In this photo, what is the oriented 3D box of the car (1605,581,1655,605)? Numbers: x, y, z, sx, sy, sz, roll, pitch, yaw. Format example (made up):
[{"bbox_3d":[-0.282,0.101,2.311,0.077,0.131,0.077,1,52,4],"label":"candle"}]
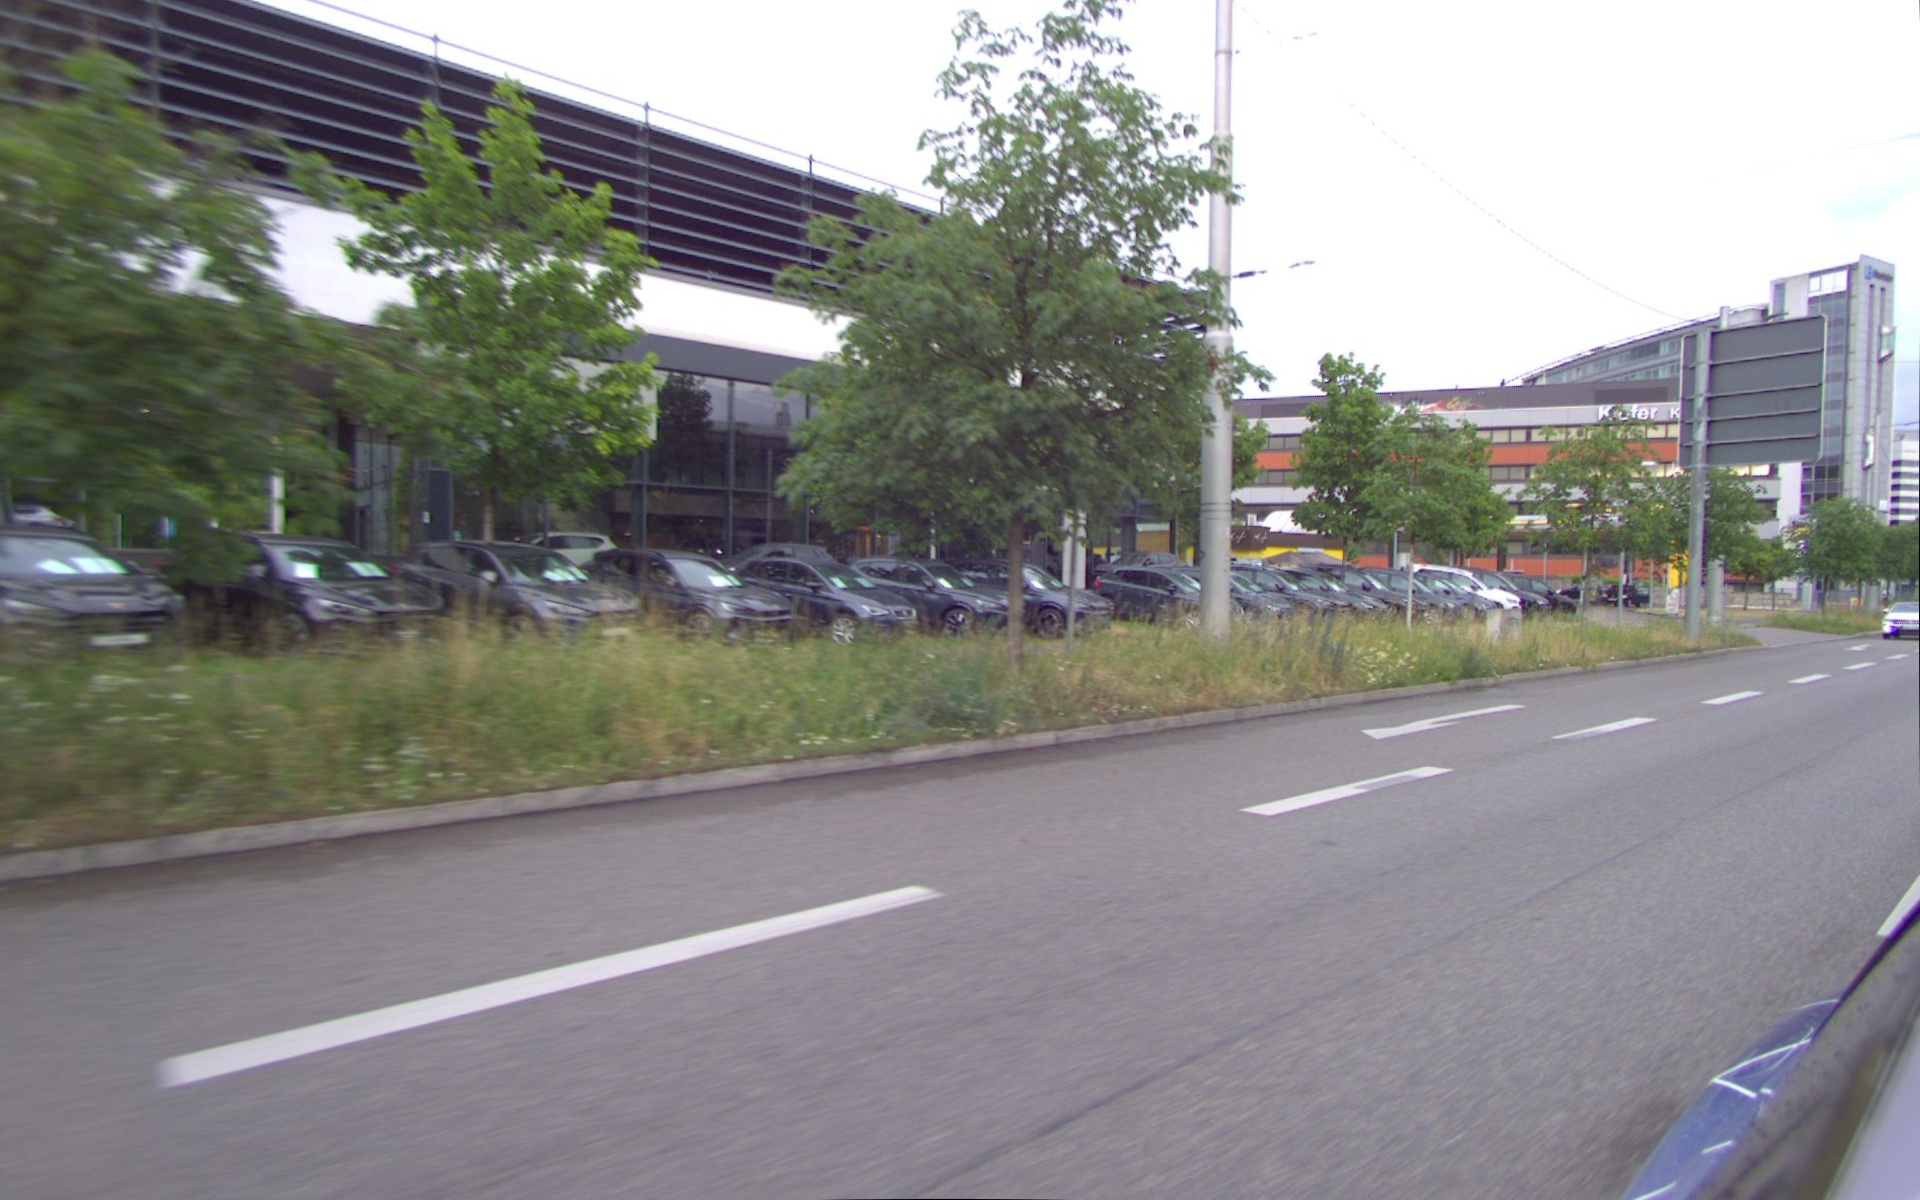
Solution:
[{"bbox_3d":[44.413,-0.464,67.091,3.715,1.436,1.783,0,3,-41],"label":"car"}]

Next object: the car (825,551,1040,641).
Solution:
[{"bbox_3d":[-0.601,-0.151,20.863,4.120,1.552,1.775,4,3,31],"label":"car"}]

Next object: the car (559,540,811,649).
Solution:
[{"bbox_3d":[-4.736,-0.168,17.304,4.120,1.546,1.812,4,3,31],"label":"car"}]

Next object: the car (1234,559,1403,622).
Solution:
[{"bbox_3d":[10.894,-0.355,30.923,4.484,1.638,1.794,5,4,42],"label":"car"}]

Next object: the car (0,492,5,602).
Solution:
[{"bbox_3d":[-18.933,-0.952,16.822,4.352,1.962,1.890,0,2,-41],"label":"car"}]

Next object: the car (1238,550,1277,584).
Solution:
[{"bbox_3d":[15.707,-1.692,53.404,1.820,1.664,4.292,2,1,17],"label":"car"}]

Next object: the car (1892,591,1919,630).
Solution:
[{"bbox_3d":[38.688,0.420,40.213,3.767,1.513,1.878,0,1,-39],"label":"car"}]

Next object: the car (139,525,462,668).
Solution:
[{"bbox_3d":[-8.897,-0.134,13.618,4.111,1.588,1.811,4,3,26],"label":"car"}]

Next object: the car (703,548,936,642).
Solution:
[{"bbox_3d":[-2.680,-0.156,19.029,4.120,1.476,1.775,4,3,31],"label":"car"}]

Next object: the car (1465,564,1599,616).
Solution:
[{"bbox_3d":[23.593,-0.442,41.850,4.308,1.838,1.880,3,2,0],"label":"car"}]

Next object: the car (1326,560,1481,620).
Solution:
[{"bbox_3d":[15.049,-0.391,34.467,4.477,1.773,1.797,4,3,38],"label":"car"}]

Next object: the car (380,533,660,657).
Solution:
[{"bbox_3d":[-6.788,-0.158,15.536,4.119,1.588,1.889,4,3,31],"label":"car"}]

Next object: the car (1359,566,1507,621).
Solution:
[{"bbox_3d":[16.843,-0.282,36.106,4.475,1.657,1.798,4,3,36],"label":"car"}]

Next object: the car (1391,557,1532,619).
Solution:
[{"bbox_3d":[18.673,-0.497,37.750,4.468,2.015,1.800,4,3,33],"label":"car"}]

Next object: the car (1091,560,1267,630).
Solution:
[{"bbox_3d":[5.520,-0.184,25.749,4.039,1.520,1.663,4,3,39],"label":"car"}]

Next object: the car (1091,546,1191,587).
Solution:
[{"bbox_3d":[6.969,-1.267,38.785,3.831,1.491,1.783,0,2,-41],"label":"car"}]

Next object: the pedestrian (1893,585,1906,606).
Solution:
[{"bbox_3d":[87.095,-0.439,93.788,0.676,1.925,0.672,-1,-1,28],"label":"pedestrian"}]

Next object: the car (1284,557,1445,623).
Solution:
[{"bbox_3d":[13.030,-0.375,32.736,4.477,1.817,1.797,4,3,38],"label":"car"}]

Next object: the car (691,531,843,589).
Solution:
[{"bbox_3d":[-5.339,-1.077,28.227,3.831,1.491,1.668,0,2,-41],"label":"car"}]

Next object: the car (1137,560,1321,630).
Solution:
[{"bbox_3d":[7.239,-0.198,27.480,4.480,1.588,1.796,4,3,39],"label":"car"}]

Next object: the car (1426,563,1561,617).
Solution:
[{"bbox_3d":[20.652,-0.440,39.245,4.366,1.811,1.854,4,3,37],"label":"car"}]

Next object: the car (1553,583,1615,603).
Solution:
[{"bbox_3d":[52.362,-0.584,85.017,4.322,1.667,1.775,-1,0,30],"label":"car"}]

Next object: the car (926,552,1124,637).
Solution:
[{"bbox_3d":[1.402,-0.181,22.370,4.025,1.595,1.714,4,3,31],"label":"car"}]

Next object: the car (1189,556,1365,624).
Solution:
[{"bbox_3d":[9.124,-0.340,29.302,4.480,1.683,1.796,4,3,39],"label":"car"}]

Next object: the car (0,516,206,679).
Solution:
[{"bbox_3d":[-11.059,-0.158,11.938,4.111,1.624,1.811,4,3,26],"label":"car"}]
